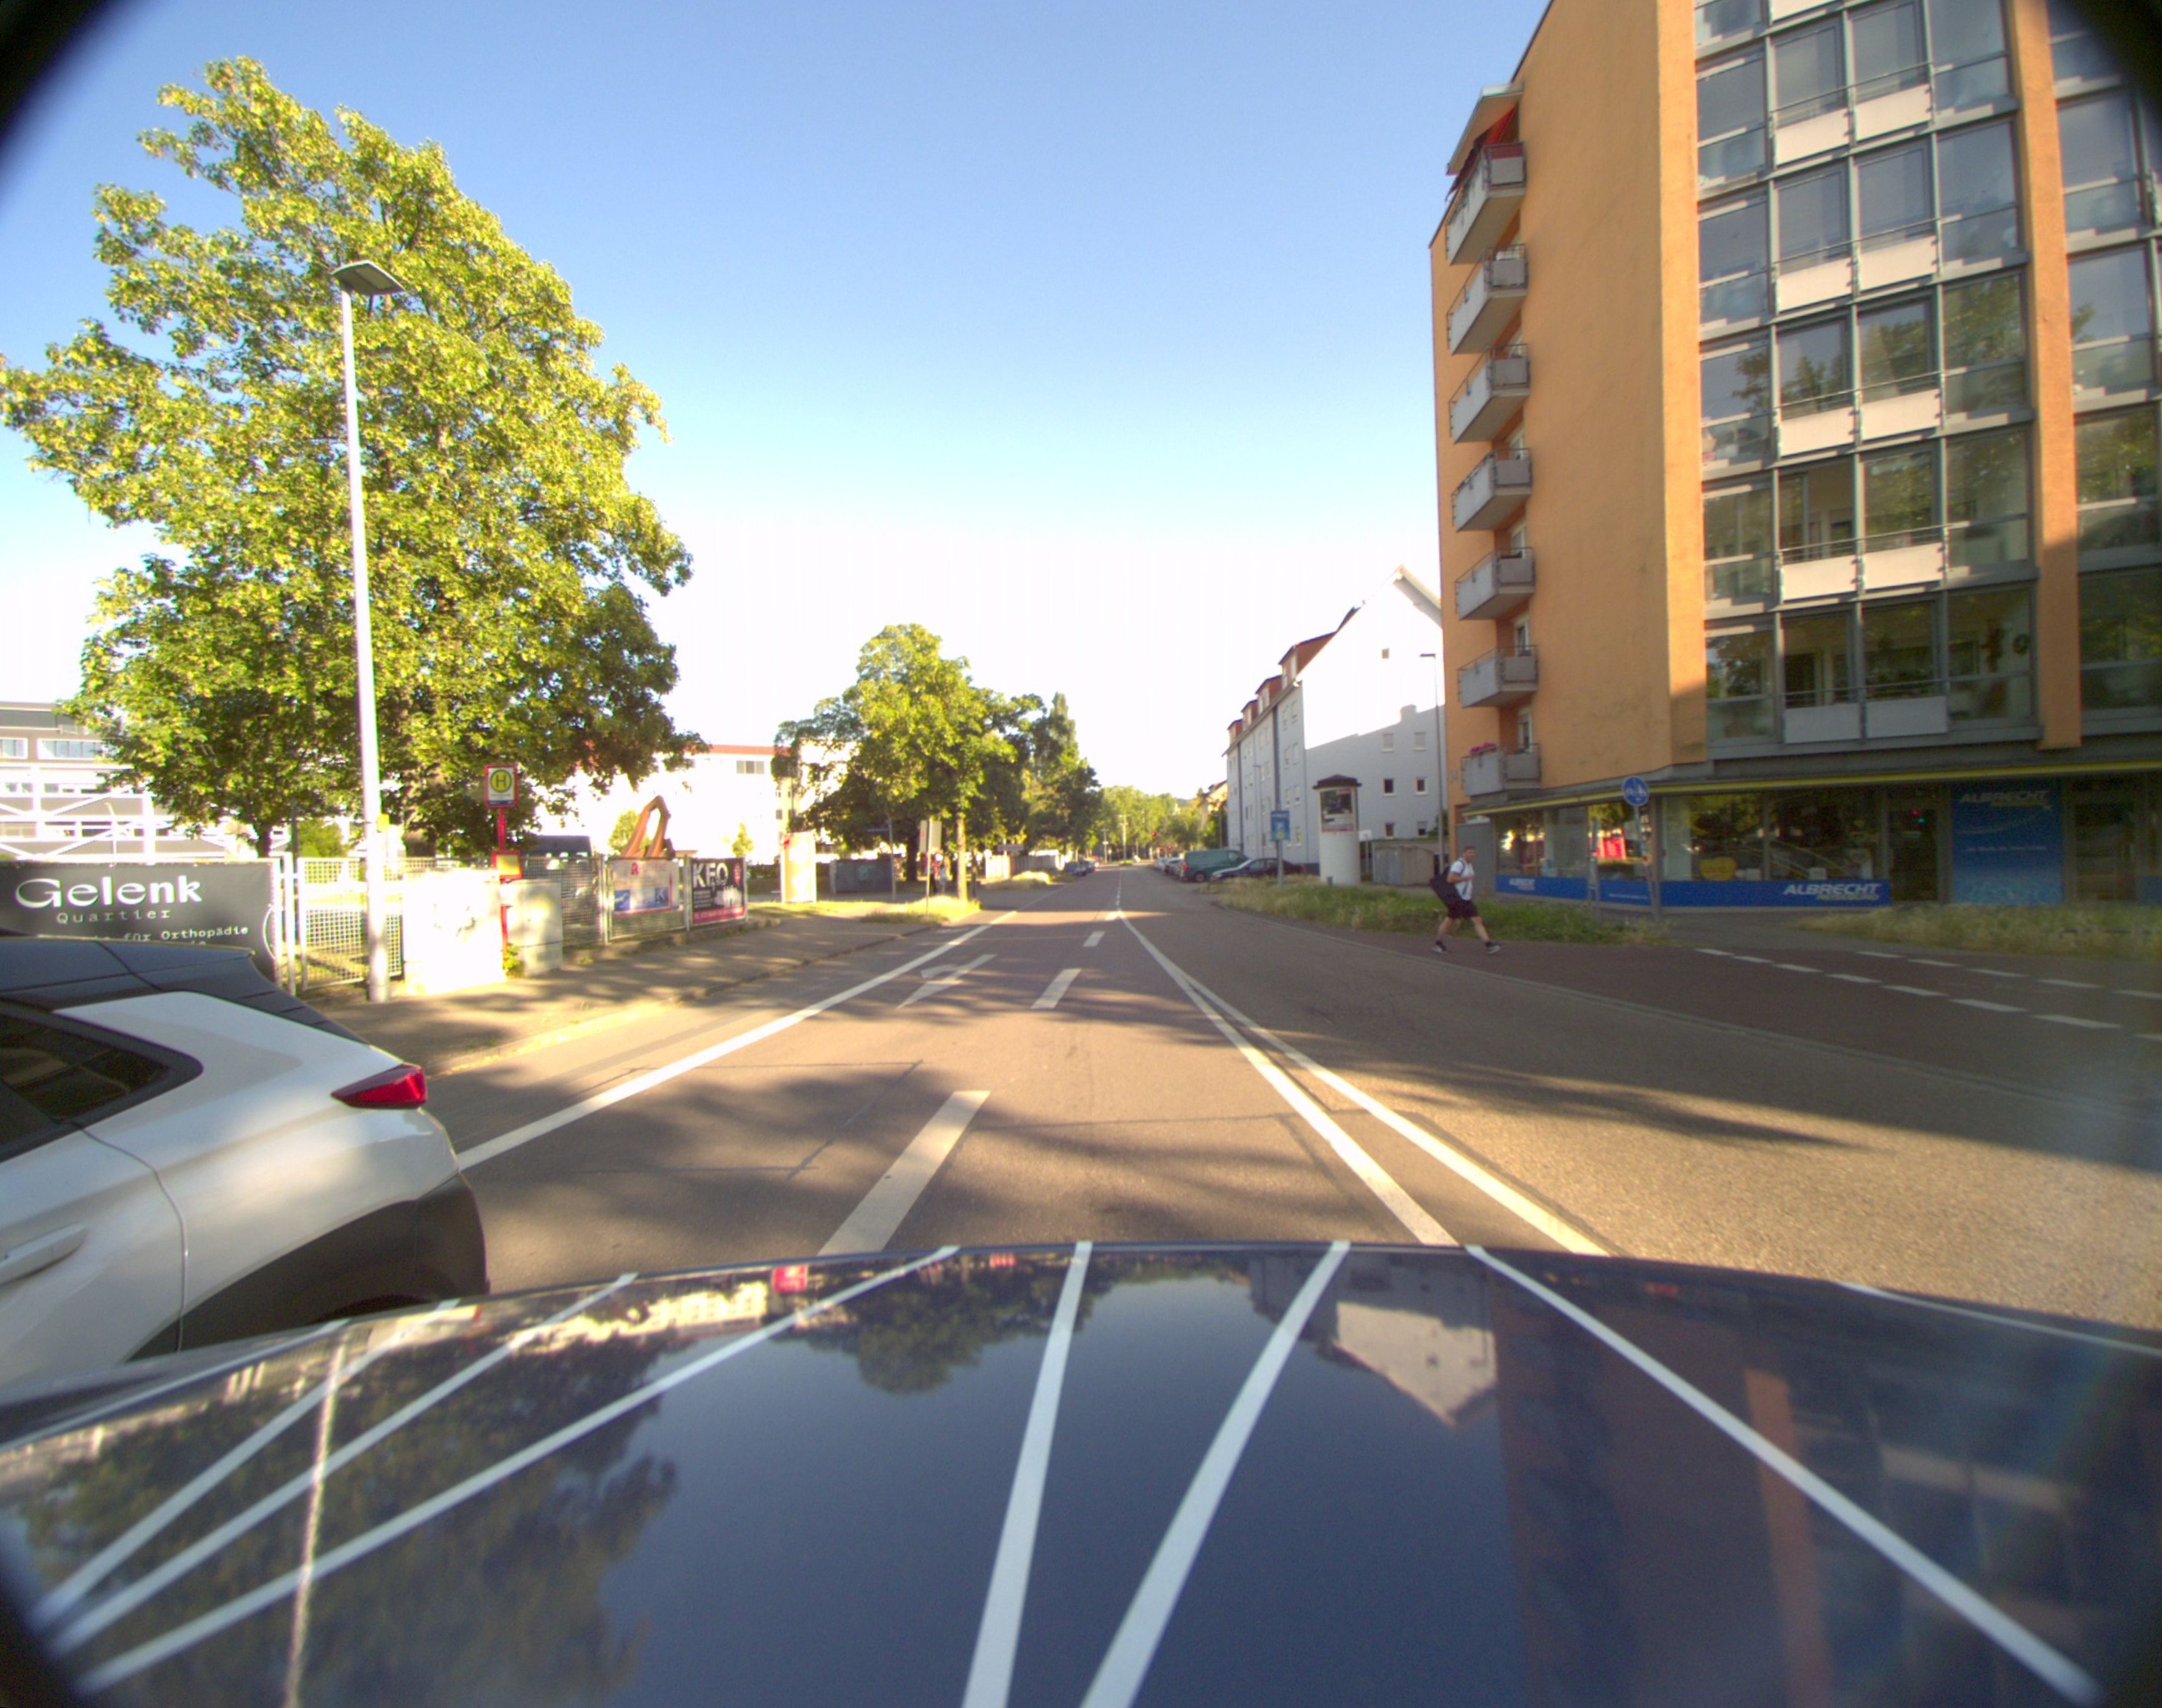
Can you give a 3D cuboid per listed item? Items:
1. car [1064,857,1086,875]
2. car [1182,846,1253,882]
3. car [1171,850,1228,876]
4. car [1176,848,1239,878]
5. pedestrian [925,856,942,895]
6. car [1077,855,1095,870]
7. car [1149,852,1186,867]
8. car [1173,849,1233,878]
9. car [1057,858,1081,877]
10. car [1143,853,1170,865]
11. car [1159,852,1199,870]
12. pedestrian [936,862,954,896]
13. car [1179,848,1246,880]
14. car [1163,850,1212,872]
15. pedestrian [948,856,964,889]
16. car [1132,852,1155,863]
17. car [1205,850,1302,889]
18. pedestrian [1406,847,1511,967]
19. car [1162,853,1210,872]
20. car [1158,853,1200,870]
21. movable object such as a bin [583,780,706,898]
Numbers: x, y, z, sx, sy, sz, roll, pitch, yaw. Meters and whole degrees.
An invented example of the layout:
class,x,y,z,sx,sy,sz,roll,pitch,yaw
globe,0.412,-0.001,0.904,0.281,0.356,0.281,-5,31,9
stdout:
class,x,y,z,sx,sy,sz,roll,pitch,yaw
car,-0.587,1.146,73.936,1.998,1.521,3.999,-2,1,1
car,8.192,0.590,45.931,3.996,1.936,2.000,-2,1,4
car,8.746,0.658,56.429,4.071,1.741,1.899,-2,1,5
car,8.498,0.583,51.335,3.995,1.805,2.000,-2,1,5
pedestrian,-6.619,0.955,34.141,0.609,1.727,0.638,-2,1,-5
car,0.569,0.945,87.969,1.998,1.521,3.999,-2,1,1
car,10.224,0.639,90.182,4.257,1.564,1.867,-2,1,5
car,8.569,0.664,53.686,4.059,1.805,1.937,-2,1,5
car,-1.090,1.214,69.588,1.998,1.521,3.999,-2,1,1
car,10.468,0.697,105.234,3.538,1.564,1.867,-2,1,5
car,10.259,0.720,80.059,4.071,1.741,1.899,-2,1,5
pedestrian,-6.005,1.096,33.528,0.609,1.426,0.639,-2,1,1
car,8.354,0.620,48.579,3.995,1.805,2.000,-2,1,5
car,9.274,0.604,66.480,4.117,1.762,1.757,-2,1,5
pedestrian,-6.307,0.931,38.346,0.696,1.659,0.638,-2,1,-11
car,9.705,0.582,118.215,3.538,1.564,1.867,-2,1,5
car,8.295,0.728,36.866,4.423,1.652,2.001,-2,1,9
pedestrian,5.810,0.775,11.727,0.903,1.727,1.086,-3,1,-21
car,9.567,0.768,69.366,4.257,1.564,1.867,-2,1,5
car,10.307,0.751,79.923,4.257,1.564,1.867,-2,1,5
movable object such as a bin,-22.231,-0.704,38.543,3.986,5.447,6.016,-3,1,-42
